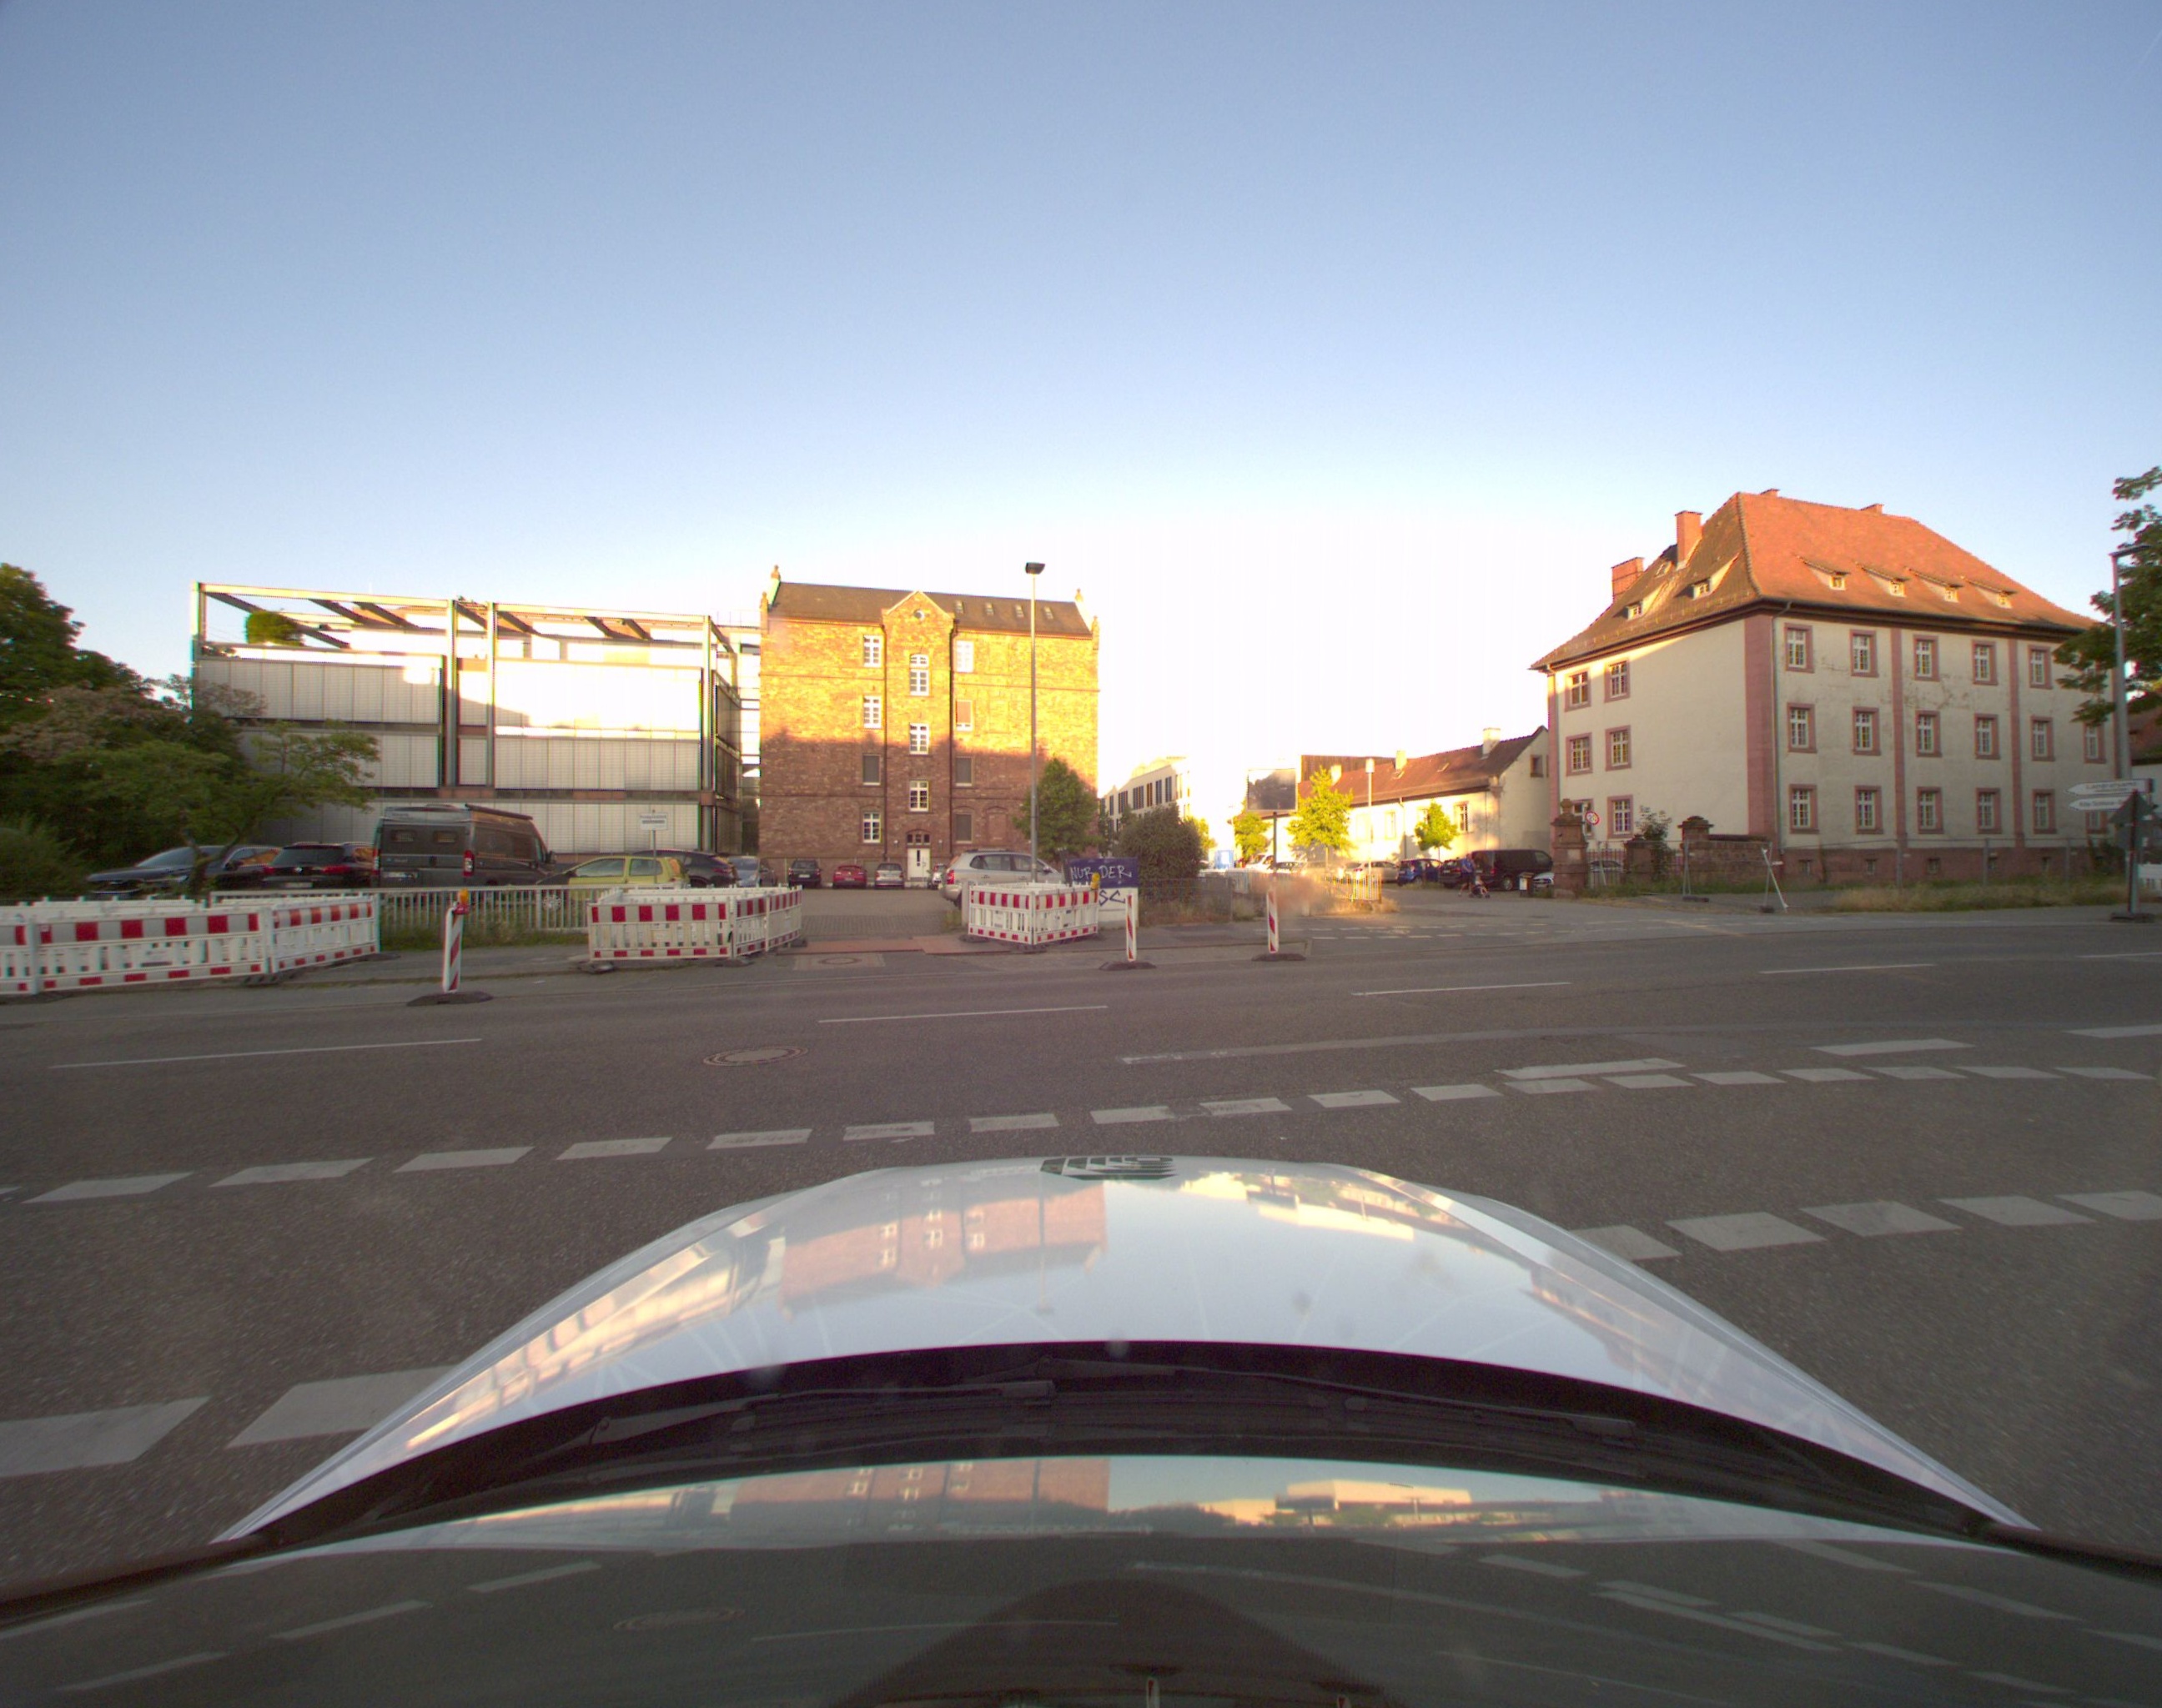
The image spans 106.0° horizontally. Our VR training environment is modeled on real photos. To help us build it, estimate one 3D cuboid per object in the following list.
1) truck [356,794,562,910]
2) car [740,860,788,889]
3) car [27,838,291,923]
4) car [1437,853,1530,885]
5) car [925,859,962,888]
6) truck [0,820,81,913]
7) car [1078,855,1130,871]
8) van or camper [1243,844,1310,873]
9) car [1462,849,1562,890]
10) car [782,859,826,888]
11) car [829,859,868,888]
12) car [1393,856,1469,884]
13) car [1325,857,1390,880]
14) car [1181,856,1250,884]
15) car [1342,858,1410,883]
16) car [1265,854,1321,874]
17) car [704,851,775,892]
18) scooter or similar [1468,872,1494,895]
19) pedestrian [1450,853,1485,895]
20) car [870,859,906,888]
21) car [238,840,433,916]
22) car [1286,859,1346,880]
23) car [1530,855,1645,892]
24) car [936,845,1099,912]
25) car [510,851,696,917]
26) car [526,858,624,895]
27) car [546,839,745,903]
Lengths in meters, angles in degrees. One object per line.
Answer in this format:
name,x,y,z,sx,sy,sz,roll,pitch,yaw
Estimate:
truck,-15.761,-0.033,21.070,2.336,2.617,4.951,0,0,-13
car,-17.533,1.088,45.222,1.899,1.537,4.160,0,0,-13
car,-20.954,0.549,18.837,1.997,1.727,4.278,0,0,-15
car,20.610,0.764,41.714,3.997,1.573,1.988,0,-1,-17
car,-8.021,1.092,47.338,1.899,1.537,4.160,0,0,-13
truck,-25.137,0.286,17.527,2.106,2.091,4.496,-1,-1,-10
car,1.927,0.745,68.223,3.993,1.313,1.868,0,-1,-15
van or camper,15.411,0.365,64.261,4.975,2.240,1.677,0,-1,-18
car,20.631,0.720,39.043,3.997,1.859,1.988,0,-1,-17
car,-15.478,1.050,45.722,1.899,1.537,4.160,0,0,-13
car,-13.104,1.064,46.085,1.899,1.537,4.160,0,0,-13
car,19.788,0.887,46.061,3.749,1.529,1.677,0,-1,-17
car,18.050,0.949,53.200,3.749,1.445,1.677,0,-1,-17
car,8.131,0.970,49.200,3.749,1.603,1.677,0,-1,-17
car,18.293,1.018,50.547,3.749,1.445,1.677,0,-1,-17
car,15.847,0.765,60.968,3.749,1.445,1.677,0,-1,-17
car,-14.132,0.688,33.936,1.996,1.576,4.345,0,0,-13
scooter or similar,15.383,1.133,31.346,0.514,0.890,0.802,0,-1,-13
pedestrian,15.310,0.798,32.282,0.750,1.642,1.010,0,-1,-13
car,-10.960,1.077,46.430,1.899,1.537,4.160,0,0,-13
car,-18.432,0.543,20.418,1.997,1.692,3.979,0,0,-15
car,16.439,1.081,56.930,3.749,1.445,1.677,0,-1,-17
car,21.323,0.812,34.330,3.997,1.459,1.988,0,-1,-17
car,-1.778,0.636,22.582,4.276,1.708,1.694,-1,0,-15
car,-11.796,0.707,20.318,3.634,1.504,1.630,-1,0,-13
car,-19.673,0.829,31.893,1.942,1.306,4.345,0,0,-13
car,-11.974,0.444,22.658,4.587,1.638,1.569,-1,0,-13
